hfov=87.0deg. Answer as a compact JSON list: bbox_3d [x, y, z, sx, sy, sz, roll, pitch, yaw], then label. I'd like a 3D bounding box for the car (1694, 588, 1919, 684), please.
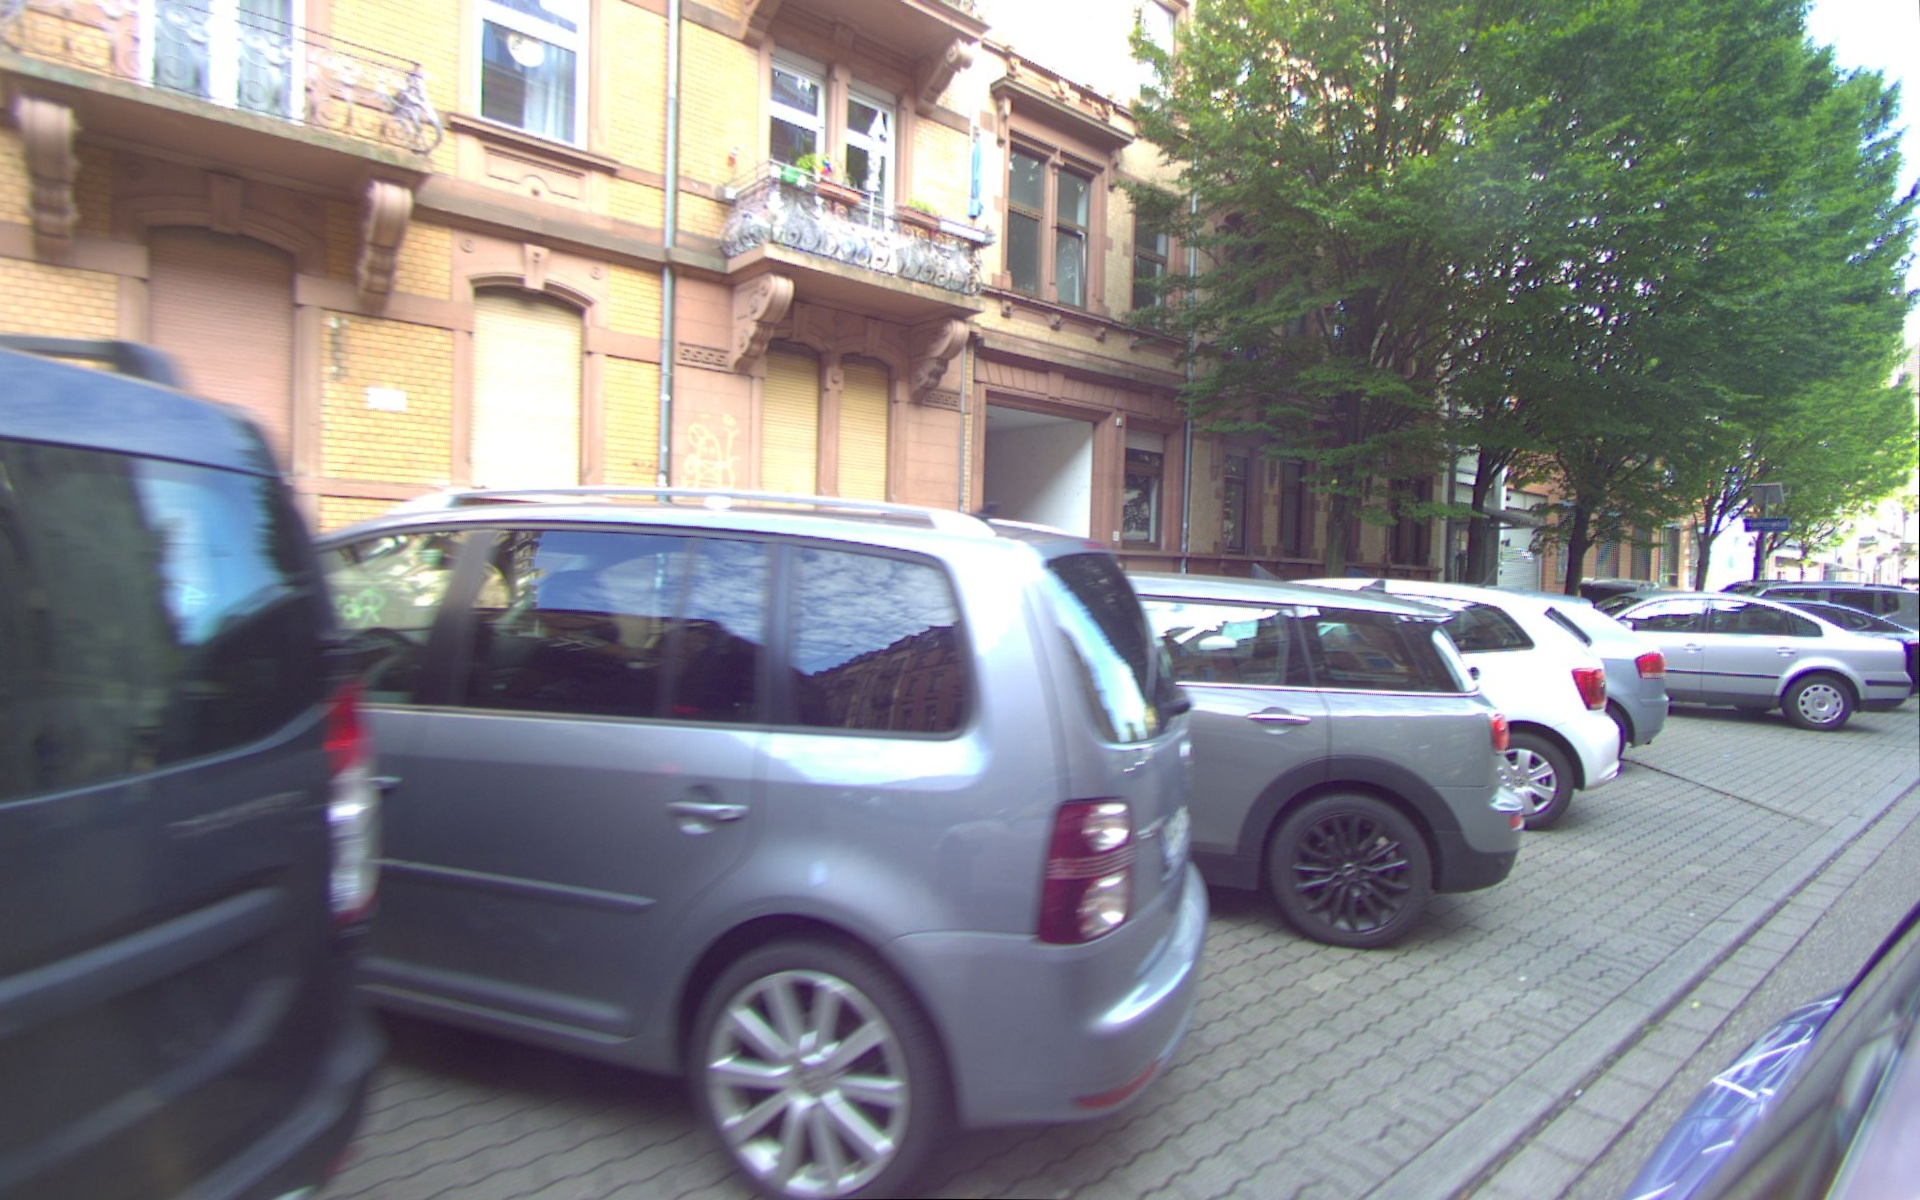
[{"bbox_3d":[15.715,0.602,17.813,4.064,1.539,1.838,1,2,14],"label":"car"}]

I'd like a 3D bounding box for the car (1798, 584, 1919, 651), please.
[{"bbox_3d":[25.514,0.525,26.706,4.745,1.562,1.861,4,3,18],"label":"car"}]

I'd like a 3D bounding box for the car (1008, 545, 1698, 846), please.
[{"bbox_3d":[2.495,0.468,7.180,3.949,1.467,1.727,5,4,18],"label":"car"}]

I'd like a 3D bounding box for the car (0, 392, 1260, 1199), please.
[{"bbox_3d":[-1.111,0.363,3.435,3.950,1.762,1.828,3,2,19],"label":"car"}]

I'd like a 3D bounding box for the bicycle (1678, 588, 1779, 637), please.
[{"bbox_3d":[21.296,0.334,28.095,0.806,1.108,2.026,0,6,-40],"label":"bicycle"}]

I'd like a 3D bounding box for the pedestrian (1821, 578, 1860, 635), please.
[{"bbox_3d":[28.590,0.203,32.871,0.937,1.759,0.753,0,5,-45],"label":"pedestrian"}]

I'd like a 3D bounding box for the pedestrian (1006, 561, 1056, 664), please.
[{"bbox_3d":[0.934,0.149,13.220,0.562,1.296,0.718,0,1,11],"label":"pedestrian"}]

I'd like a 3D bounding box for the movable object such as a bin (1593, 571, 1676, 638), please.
[{"bbox_3d":[16.828,0.098,25.266,1.020,1.462,1.375,0,7,-42],"label":"movable object such as a bin"}]

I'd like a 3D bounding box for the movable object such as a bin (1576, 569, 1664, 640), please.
[{"bbox_3d":[15.996,0.091,24.540,1.144,1.476,1.375,0,9,-42],"label":"movable object such as a bin"}]

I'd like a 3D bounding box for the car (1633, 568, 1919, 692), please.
[{"bbox_3d":[13.434,0.443,16.212,3.943,1.720,1.844,3,1,15],"label":"car"}]

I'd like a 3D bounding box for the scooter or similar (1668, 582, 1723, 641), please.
[{"bbox_3d":[17.688,0.262,24.337,1.294,1.397,0.526,0,0,-26],"label":"scooter or similar"}]

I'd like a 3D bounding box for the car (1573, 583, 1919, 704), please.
[{"bbox_3d":[11.294,0.559,14.284,4.078,1.435,1.861,2,1,15],"label":"car"}]

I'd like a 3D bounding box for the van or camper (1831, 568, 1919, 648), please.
[{"bbox_3d":[27.364,0.222,28.394,3.950,2.206,1.987,1,0,20],"label":"van or camper"}]

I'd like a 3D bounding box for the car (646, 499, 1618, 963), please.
[{"bbox_3d":[0.689,0.423,5.156,3.941,1.567,1.862,4,2,13],"label":"car"}]

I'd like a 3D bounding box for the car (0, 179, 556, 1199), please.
[{"bbox_3d":[-3.135,0.325,1.855,4.347,1.844,1.745,4,3,19],"label":"car"}]

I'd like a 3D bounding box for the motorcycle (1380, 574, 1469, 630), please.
[{"bbox_3d":[10.496,0.029,22.816,2.448,1.202,0.895,0,1,-41],"label":"motorcycle"}]

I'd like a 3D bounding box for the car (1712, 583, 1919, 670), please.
[{"bbox_3d":[17.426,0.508,19.809,3.956,1.456,1.712,4,2,23],"label":"car"}]

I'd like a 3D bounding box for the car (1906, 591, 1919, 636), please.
[{"bbox_3d":[37.715,0.539,37.111,3.948,1.694,1.916,1,0,19],"label":"car"}]

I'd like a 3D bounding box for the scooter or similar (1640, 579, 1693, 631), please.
[{"bbox_3d":[20.045,0.133,28.729,0.515,1.329,1.321,4,4,4],"label":"scooter or similar"}]

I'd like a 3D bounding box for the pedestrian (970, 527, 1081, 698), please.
[{"bbox_3d":[0.667,0.098,10.329,0.819,1.654,0.732,-1,3,-43],"label":"pedestrian"}]

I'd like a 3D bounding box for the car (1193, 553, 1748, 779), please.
[{"bbox_3d":[4.131,0.432,8.952,3.942,1.478,1.880,3,4,14],"label":"car"}]

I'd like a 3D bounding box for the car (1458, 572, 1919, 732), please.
[{"bbox_3d":[8.724,0.526,12.227,4.552,1.469,1.783,4,3,18],"label":"car"}]

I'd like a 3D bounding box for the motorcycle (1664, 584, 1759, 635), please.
[{"bbox_3d":[21.547,0.256,29.042,0.813,1.241,1.984,0,5,-42],"label":"motorcycle"}]

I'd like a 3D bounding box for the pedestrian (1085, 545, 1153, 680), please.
[{"bbox_3d":[1.902,0.134,12.048,0.709,1.521,1.000,2,1,12],"label":"pedestrian"}]

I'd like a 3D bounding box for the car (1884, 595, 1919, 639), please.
[{"bbox_3d":[35.526,0.617,35.605,3.948,1.527,1.988,1,1,19],"label":"car"}]
